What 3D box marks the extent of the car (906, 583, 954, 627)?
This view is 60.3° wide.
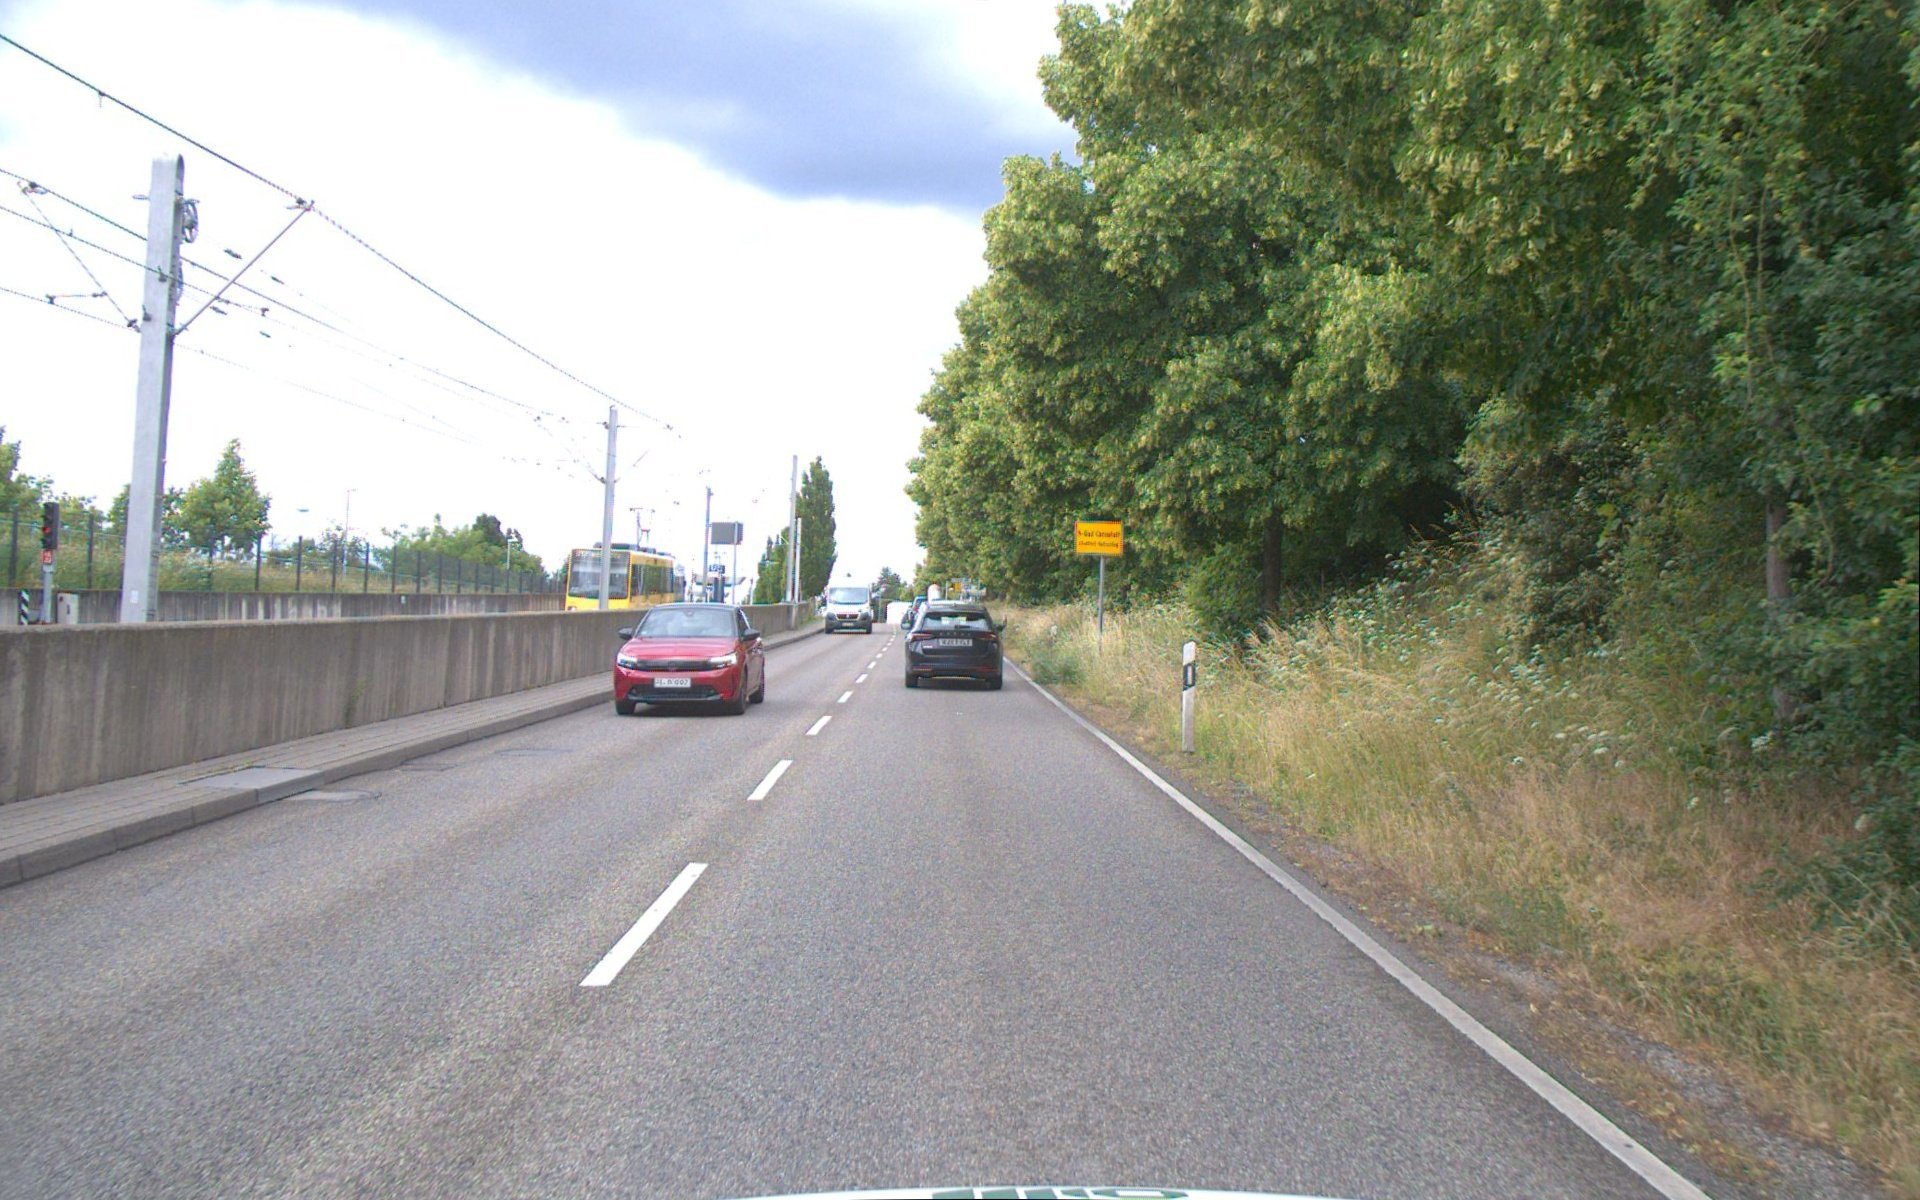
[{"bbox_3d":[-1.269,0.234,70.062,1.953,1.771,3.999,0,-1,-1],"label":"car"}]

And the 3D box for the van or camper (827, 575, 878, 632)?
[{"bbox_3d":[-4.833,0.153,75.041,2.040,2.438,6.135,1,0,-2],"label":"van or camper"}]

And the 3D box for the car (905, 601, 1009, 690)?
[{"bbox_3d":[-0.084,0.779,30.157,1.745,1.493,3.999,1,0,-1],"label":"car"}]

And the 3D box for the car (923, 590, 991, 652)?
[{"bbox_3d":[-0.132,0.611,49.969,1.953,1.783,3.999,1,0,-1],"label":"car"}]

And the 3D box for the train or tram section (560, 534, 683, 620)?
[{"bbox_3d":[-14.349,-0.764,71.858,2.756,3.172,18.897,1,-1,-4],"label":"train or tram section"}]

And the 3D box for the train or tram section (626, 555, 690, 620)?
[{"bbox_3d":[-16.353,-0.518,90.545,2.752,3.130,19.063,1,-1,-8],"label":"train or tram section"}]

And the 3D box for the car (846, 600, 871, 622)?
[{"bbox_3d":[-7.303,0.773,118.402,1.697,1.599,3.996,0,0,-5],"label":"car"}]

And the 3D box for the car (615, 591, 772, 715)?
[{"bbox_3d":[-3.585,0.670,22.870,1.629,1.572,3.951,0,0,-2],"label":"car"}]
